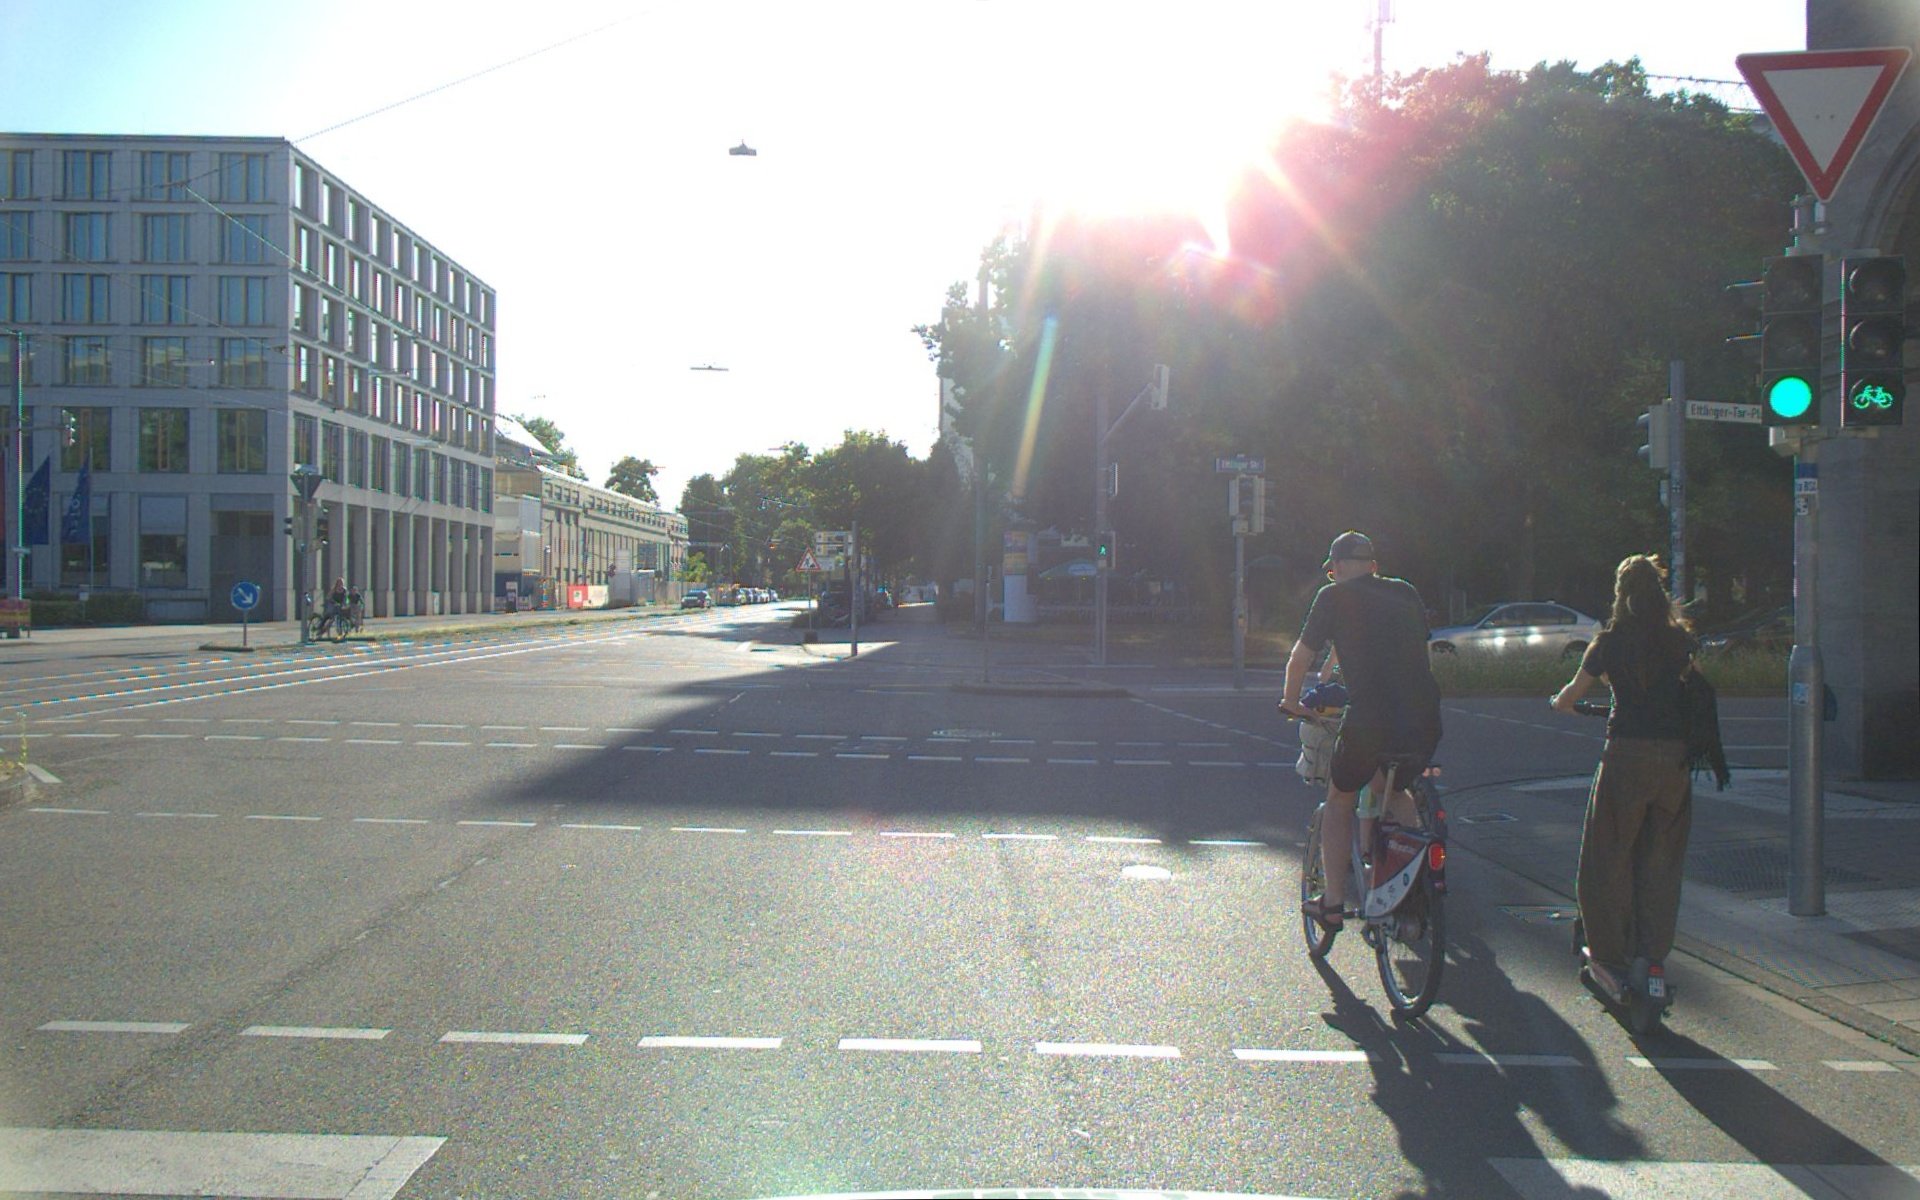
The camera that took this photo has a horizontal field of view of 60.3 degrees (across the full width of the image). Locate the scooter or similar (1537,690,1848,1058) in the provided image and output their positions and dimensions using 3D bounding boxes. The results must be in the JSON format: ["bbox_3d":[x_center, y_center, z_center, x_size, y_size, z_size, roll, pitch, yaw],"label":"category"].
[{"bbox_3d":[2.694,0.958,6.213,0.561,1.170,1.271,1,0,-2],"label":"scooter or similar"}]

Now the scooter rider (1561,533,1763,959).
[{"bbox_3d":[2.733,0.548,6.477,0.534,1.590,0.576,0,-1,-3],"label":"scooter rider"}]

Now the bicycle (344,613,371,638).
[{"bbox_3d":[-21.149,0.895,58.087,0.484,0.854,1.156,0,0,2],"label":"bicycle"}]

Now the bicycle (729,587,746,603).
[{"bbox_3d":[-18.470,-0.412,137.341,0.735,1.226,3.109,1,0,5],"label":"bicycle"}]

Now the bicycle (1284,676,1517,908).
[{"bbox_3d":[2.374,0.994,9.121,0.571,1.062,1.743,0,0,-10],"label":"bicycle"}]

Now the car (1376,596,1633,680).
[{"bbox_3d":[10.859,0.748,33.196,4.483,1.543,2.000,1,-1,-1],"label":"car"}]

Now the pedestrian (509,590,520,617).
[{"bbox_3d":[-31.405,0.231,116.638,0.575,1.922,0.478,1,-1,3],"label":"pedestrian"}]

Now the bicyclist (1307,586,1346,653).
[{"bbox_3d":[7.965,0.422,35.964,0.731,1.431,0.702,1,-1,6],"label":"bicyclist"}]

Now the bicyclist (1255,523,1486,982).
[{"bbox_3d":[1.657,0.577,6.793,0.612,1.745,0.911,0,0,-9],"label":"bicyclist"}]

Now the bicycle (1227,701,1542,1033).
[{"bbox_3d":[1.667,1.005,6.795,0.611,1.062,1.743,0,0,-9],"label":"bicycle"}]

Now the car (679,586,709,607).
[{"bbox_3d":[-21.663,-0.282,134.760,1.954,1.627,3.997,0,0,-3],"label":"car"}]

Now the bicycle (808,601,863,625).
[{"bbox_3d":[-5.013,0.509,66.592,2.201,0.956,0.653,0,0,-6],"label":"bicycle"}]

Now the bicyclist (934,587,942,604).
[{"bbox_3d":[-2.671,-0.545,199.821,0.875,2.049,0.746,1,-1,-12],"label":"bicyclist"}]

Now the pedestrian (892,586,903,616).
[{"bbox_3d":[-3.683,0.051,96.919,0.566,1.719,0.584,0,0,-8],"label":"pedestrian"}]

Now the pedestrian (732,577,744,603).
[{"bbox_3d":[-18.462,-0.825,137.411,0.735,2.099,1.050,1,-1,5],"label":"pedestrian"}]

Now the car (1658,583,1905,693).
[{"bbox_3d":[16.238,0.743,32.852,3.905,2.049,2.000,1,-1,0],"label":"car"}]

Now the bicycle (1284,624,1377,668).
[{"bbox_3d":[8.043,0.998,35.955,1.902,0.905,0.718,1,-1,5],"label":"bicycle"}]

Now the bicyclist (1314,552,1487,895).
[{"bbox_3d":[2.388,0.637,9.046,0.573,1.769,0.948,0,0,-9],"label":"bicyclist"}]

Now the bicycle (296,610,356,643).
[{"bbox_3d":[-16.504,0.670,43.058,1.682,0.837,0.572,0,0,33],"label":"bicycle"}]

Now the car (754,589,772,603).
[{"bbox_3d":[-23.077,-0.464,193.821,1.954,1.673,3.997,0,0,-4],"label":"car"}]

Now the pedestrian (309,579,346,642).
[{"bbox_3d":[-16.451,0.273,43.022,0.729,1.623,0.572,0,0,32],"label":"pedestrian"}]

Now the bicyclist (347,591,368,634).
[{"bbox_3d":[-21.158,0.436,58.076,0.484,1.525,0.666,0,0,2],"label":"bicyclist"}]

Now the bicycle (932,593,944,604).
[{"bbox_3d":[-2.659,-0.151,199.740,0.875,1.240,2.785,1,0,-12],"label":"bicycle"}]
